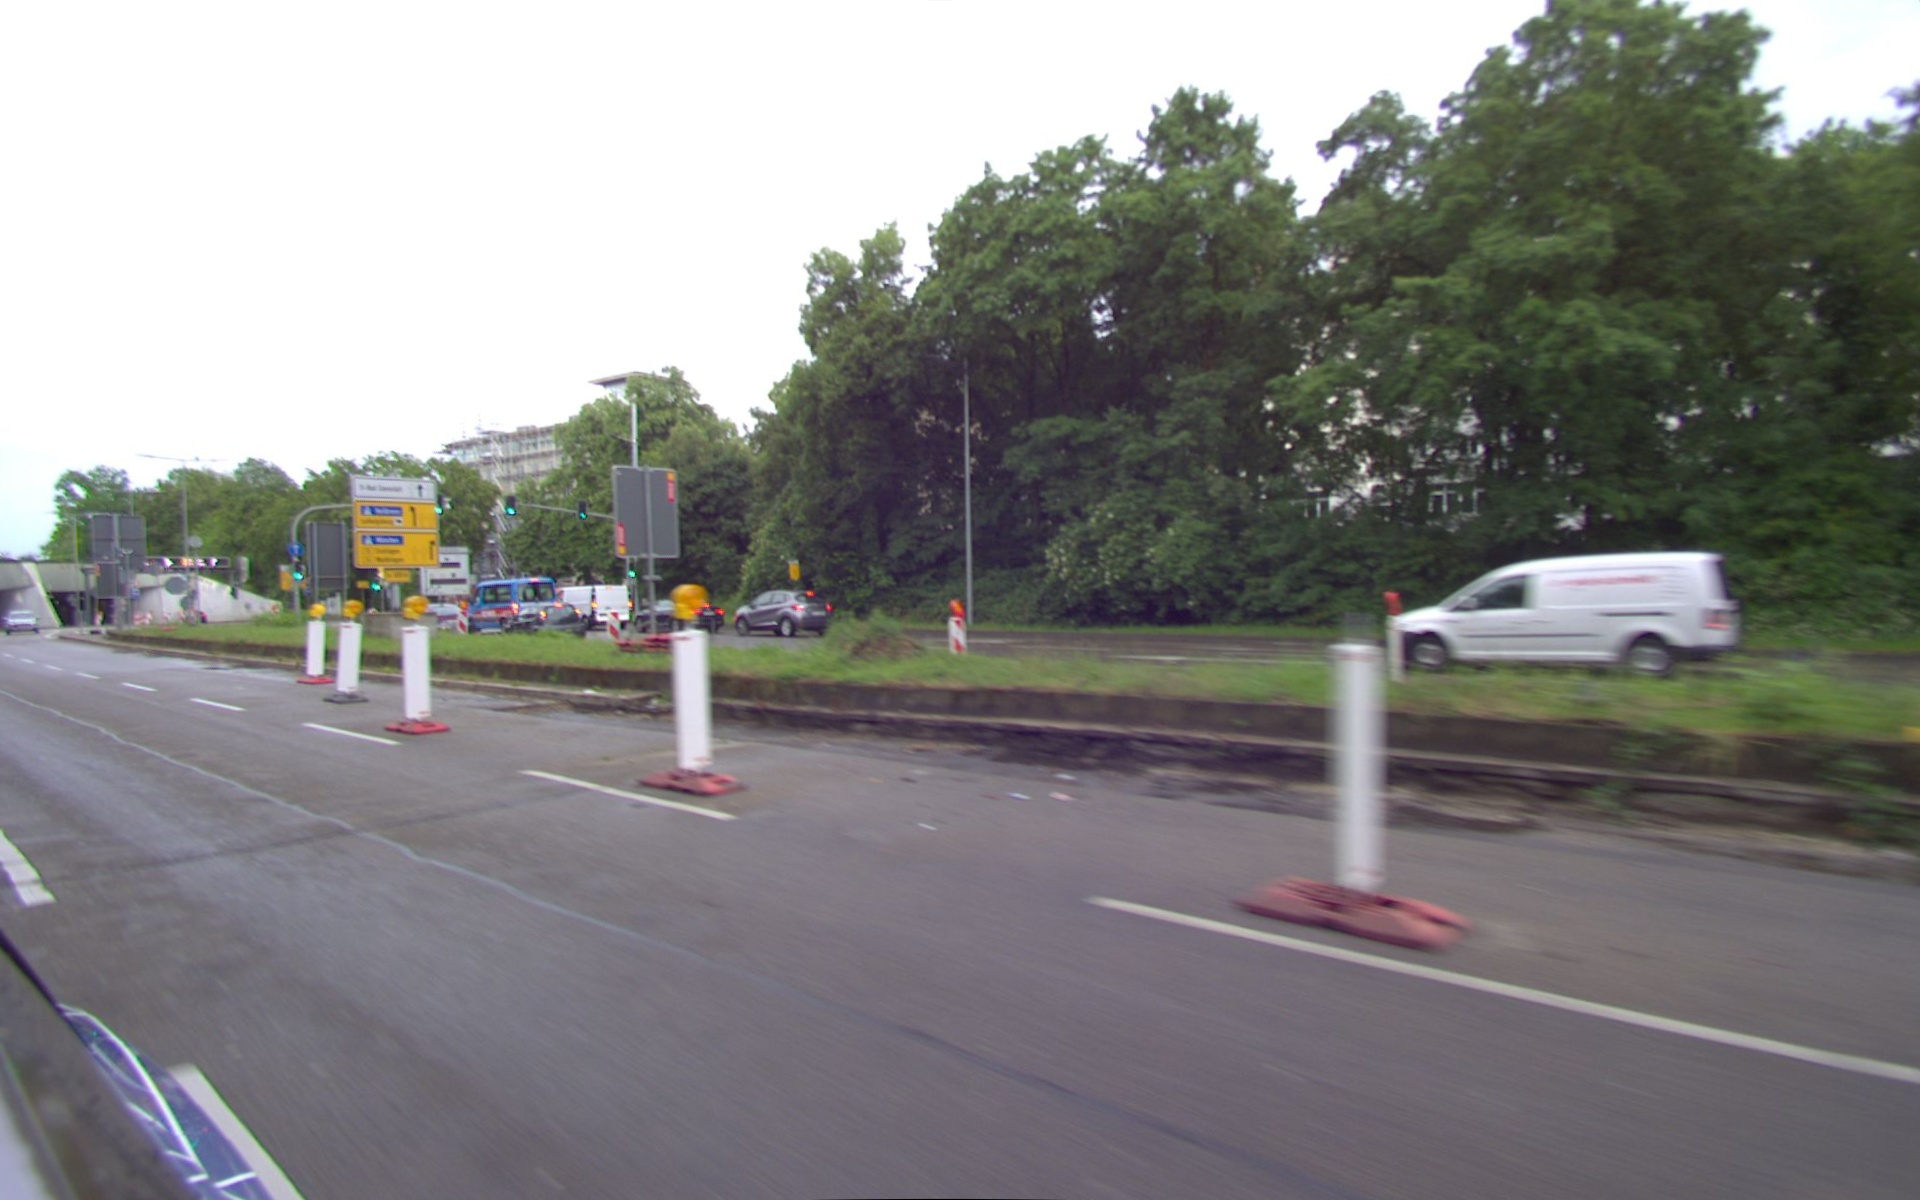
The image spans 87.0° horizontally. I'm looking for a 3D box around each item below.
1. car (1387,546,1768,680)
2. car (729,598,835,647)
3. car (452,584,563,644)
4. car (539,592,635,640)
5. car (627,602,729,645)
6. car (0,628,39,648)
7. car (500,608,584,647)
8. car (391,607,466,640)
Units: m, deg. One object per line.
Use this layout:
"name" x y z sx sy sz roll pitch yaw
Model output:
"car" 9.522 0.221 15.861 4.829 1.795 1.895 -2 0 40
"car" -6.149 0.763 34.734 3.791 1.535 1.652 -1 1 44
"car" -19.726 0.646 43.949 6.245 2.408 2.171 -3 0 44
"car" -16.915 0.756 45.781 4.991 1.989 2.012 -3 0 44
"car" -11.134 0.897 39.770 4.636 1.535 1.773 -1 1 44
"car" -66.074 2.647 70.994 3.821 1.317 1.677 -1 0 39
"car" -14.133 0.909 34.135 3.301 1.209 1.413 -1 1 44
"car" -21.511 0.932 40.893 1.530 1.209 4.652 -2 1 -42
